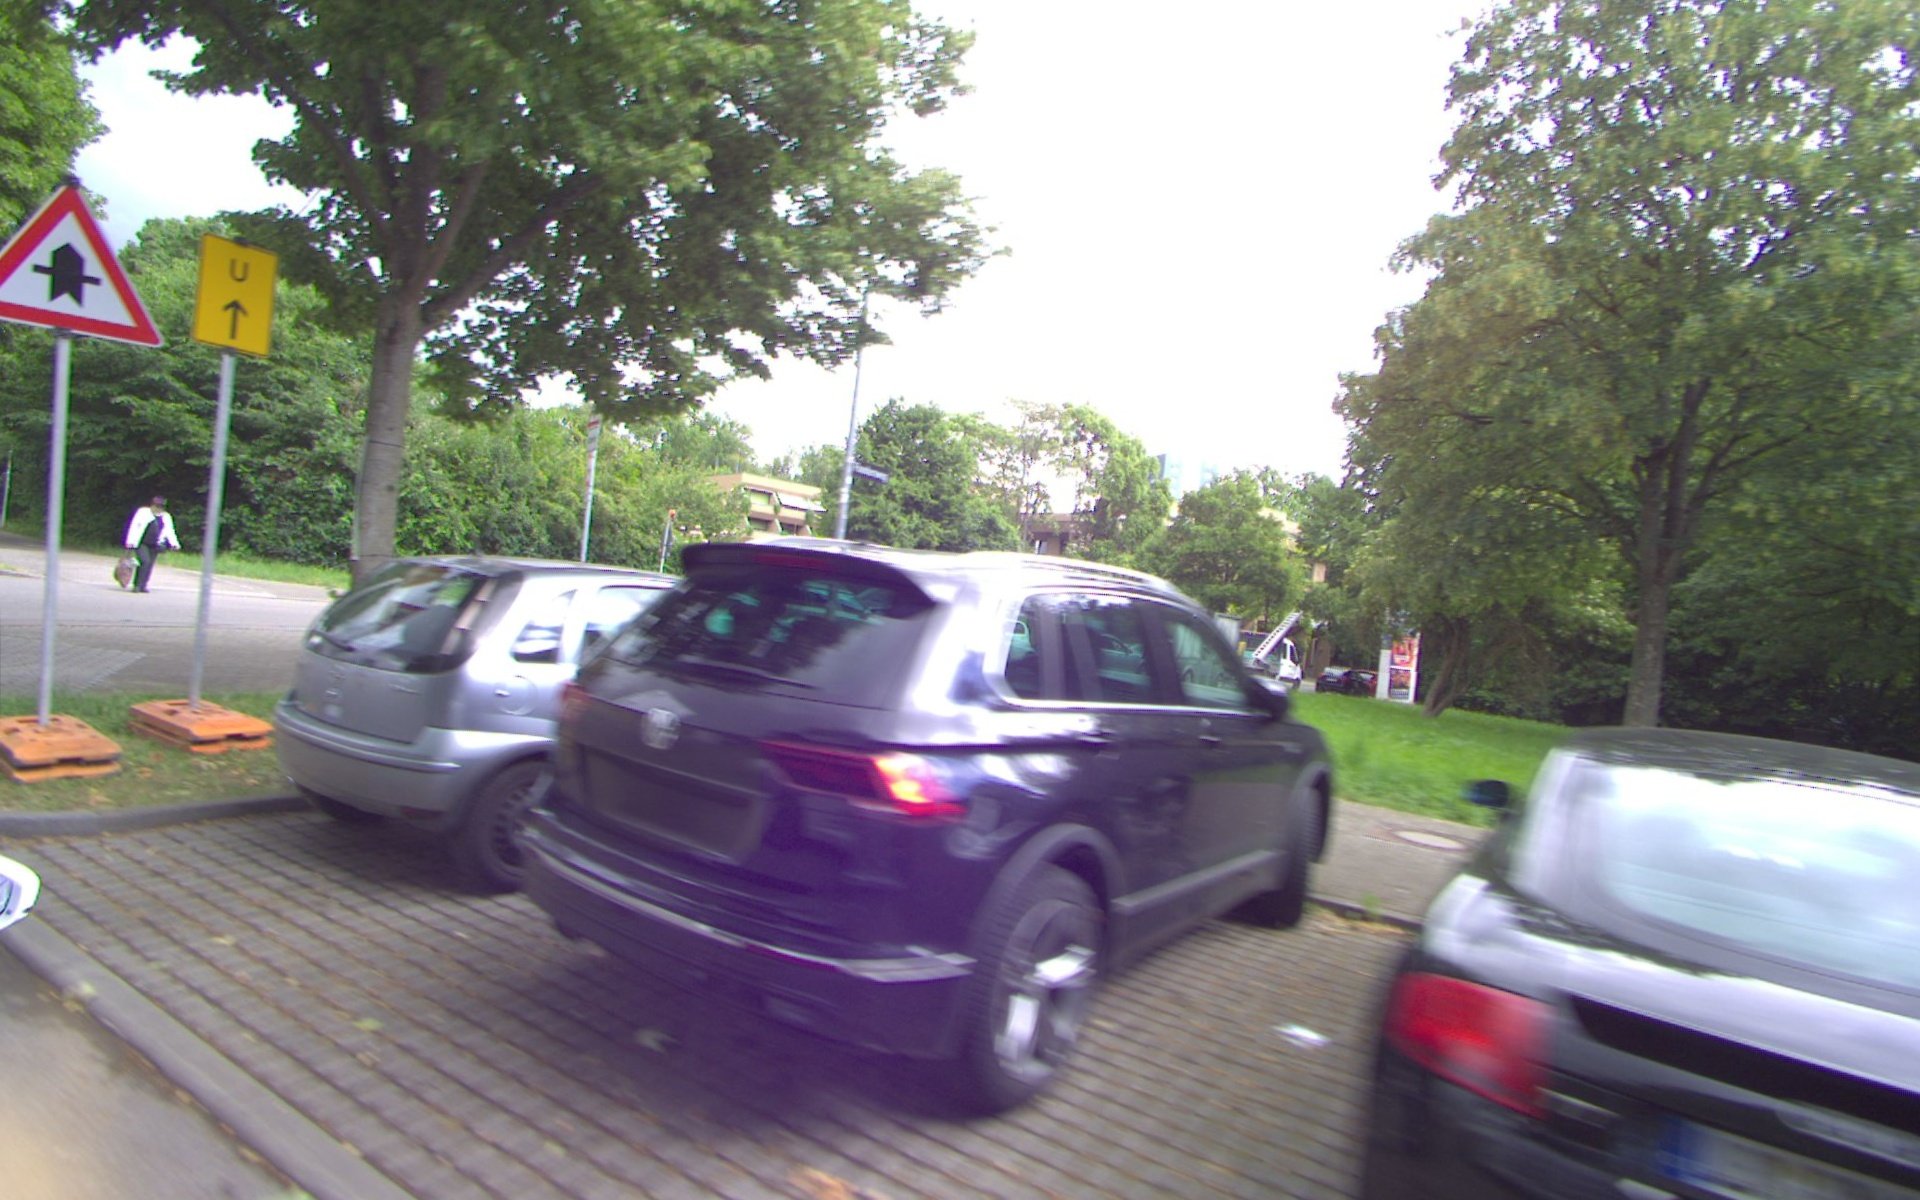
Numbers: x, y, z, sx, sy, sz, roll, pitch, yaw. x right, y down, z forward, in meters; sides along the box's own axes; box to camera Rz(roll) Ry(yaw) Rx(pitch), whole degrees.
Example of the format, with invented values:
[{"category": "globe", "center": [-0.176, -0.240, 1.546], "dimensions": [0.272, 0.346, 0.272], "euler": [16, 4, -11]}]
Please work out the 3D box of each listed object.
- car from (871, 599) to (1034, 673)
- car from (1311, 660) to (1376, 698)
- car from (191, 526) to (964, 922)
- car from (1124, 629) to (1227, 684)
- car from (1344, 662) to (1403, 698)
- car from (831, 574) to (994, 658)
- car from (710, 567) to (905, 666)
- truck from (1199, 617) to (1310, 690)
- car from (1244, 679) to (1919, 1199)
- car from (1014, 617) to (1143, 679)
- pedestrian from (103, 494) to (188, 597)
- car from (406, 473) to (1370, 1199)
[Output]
[{"category": "car", "center": [-0.086, 0.959, 25.381], "dimensions": [1.677, 1.445, 4.392], "euler": [7, -1, 37]}, {"category": "car", "center": [18.850, 3.910, 49.365], "dimensions": [1.678, 1.544, 4.281], "euler": [7, -1, 38]}, {"category": "car", "center": [-1.832, 0.542, 5.911], "dimensions": [1.822, 1.421, 3.833], "euler": [6, 0, 33]}, {"category": "car", "center": [7.626, 2.024, 35.279], "dimensions": [1.678, 1.544, 4.281], "euler": [7, -1, 38]}, {"category": "car", "center": [21.964, 4.262, 53.318], "dimensions": [1.678, 1.544, 4.281], "euler": [7, -1, 38]}, {"category": "car", "center": [-1.416, 0.578, 32.392], "dimensions": [2.106, 2.081, 5.318], "euler": [7, -1, 38]}, {"category": "car", "center": [-3.163, 0.395, 21.436], "dimensions": [1.742, 1.689, 3.777], "euler": [7, 0, 39]}, {"category": "truck", "center": [11.938, 2.211, 40.499], "dimensions": [2.160, 2.455, 5.505], "euler": [7, -1, 38]}, {"category": "car", "center": [2.439, 1.055, 3.105], "dimensions": [1.794, 1.376, 3.831], "euler": [6, 0, 35]}, {"category": "car", "center": [3.660, 1.490, 30.416], "dimensions": [1.678, 1.445, 4.427], "euler": [7, -1, 38]}, {"category": "pedestrian", "center": [-13.720, -0.915, 16.947], "dimensions": [0.797, 1.596, 0.834], "euler": [7, 0, 38]}, {"category": "car", "center": [0.206, 0.622, 4.434], "dimensions": [1.949, 1.671, 4.123], "euler": [6, 0, 35]}]
